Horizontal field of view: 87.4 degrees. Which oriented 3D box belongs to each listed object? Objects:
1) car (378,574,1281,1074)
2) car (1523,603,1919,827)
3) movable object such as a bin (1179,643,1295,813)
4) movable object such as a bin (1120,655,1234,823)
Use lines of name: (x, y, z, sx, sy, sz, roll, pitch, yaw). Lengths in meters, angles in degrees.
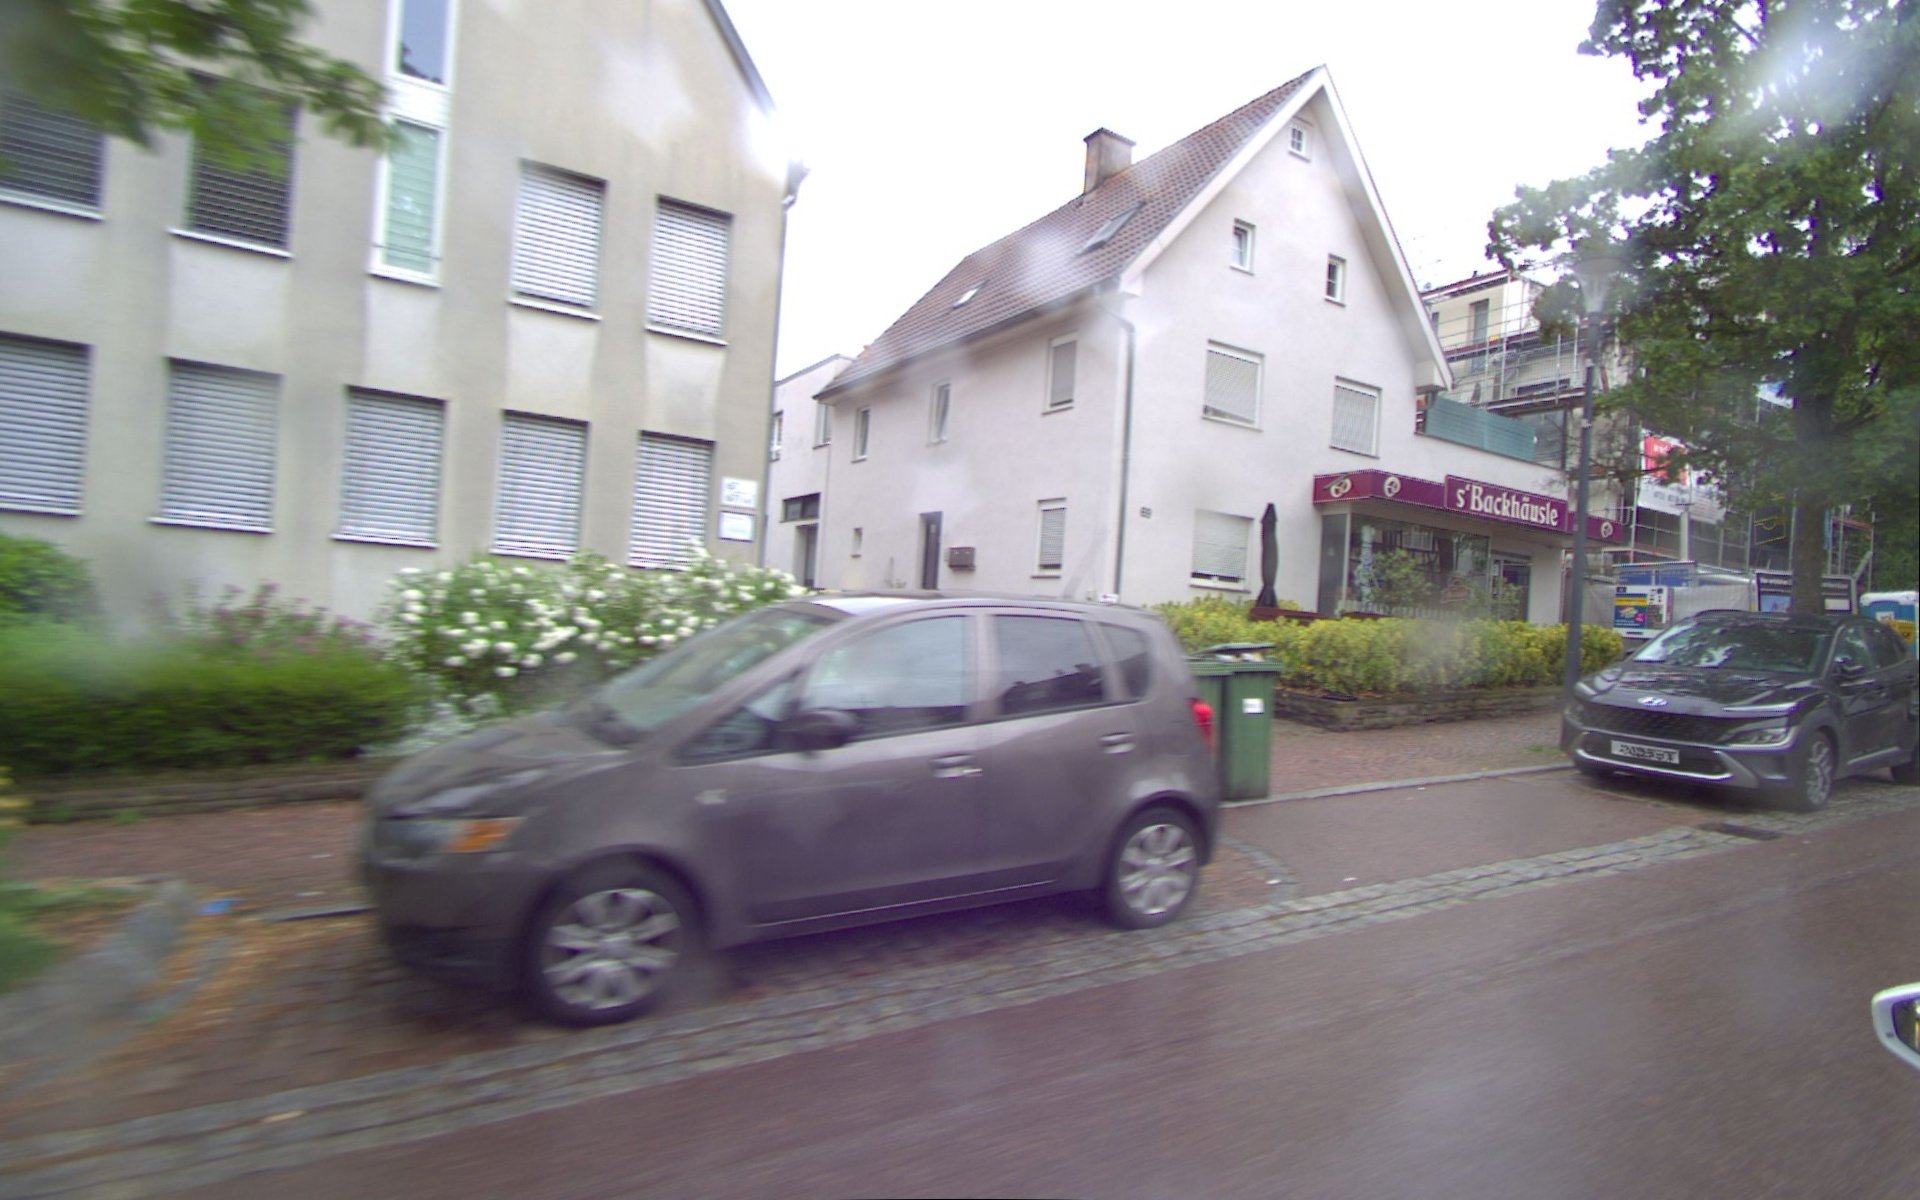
car: (-0.499, 0.721, 4.765, 3.817, 1.554, 1.640, 1, 1, -28)
car: (7.173, 0.882, 9.158, 3.953, 1.574, 1.763, 1, 2, -30)
movable object such as a bin: (2.110, 0.947, 7.686, 0.611, 1.193, 0.579, 0, 1, -31)
movable object such as a bin: (1.583, 0.987, 7.357, 0.588, 1.114, 0.550, 0, 1, -31)
